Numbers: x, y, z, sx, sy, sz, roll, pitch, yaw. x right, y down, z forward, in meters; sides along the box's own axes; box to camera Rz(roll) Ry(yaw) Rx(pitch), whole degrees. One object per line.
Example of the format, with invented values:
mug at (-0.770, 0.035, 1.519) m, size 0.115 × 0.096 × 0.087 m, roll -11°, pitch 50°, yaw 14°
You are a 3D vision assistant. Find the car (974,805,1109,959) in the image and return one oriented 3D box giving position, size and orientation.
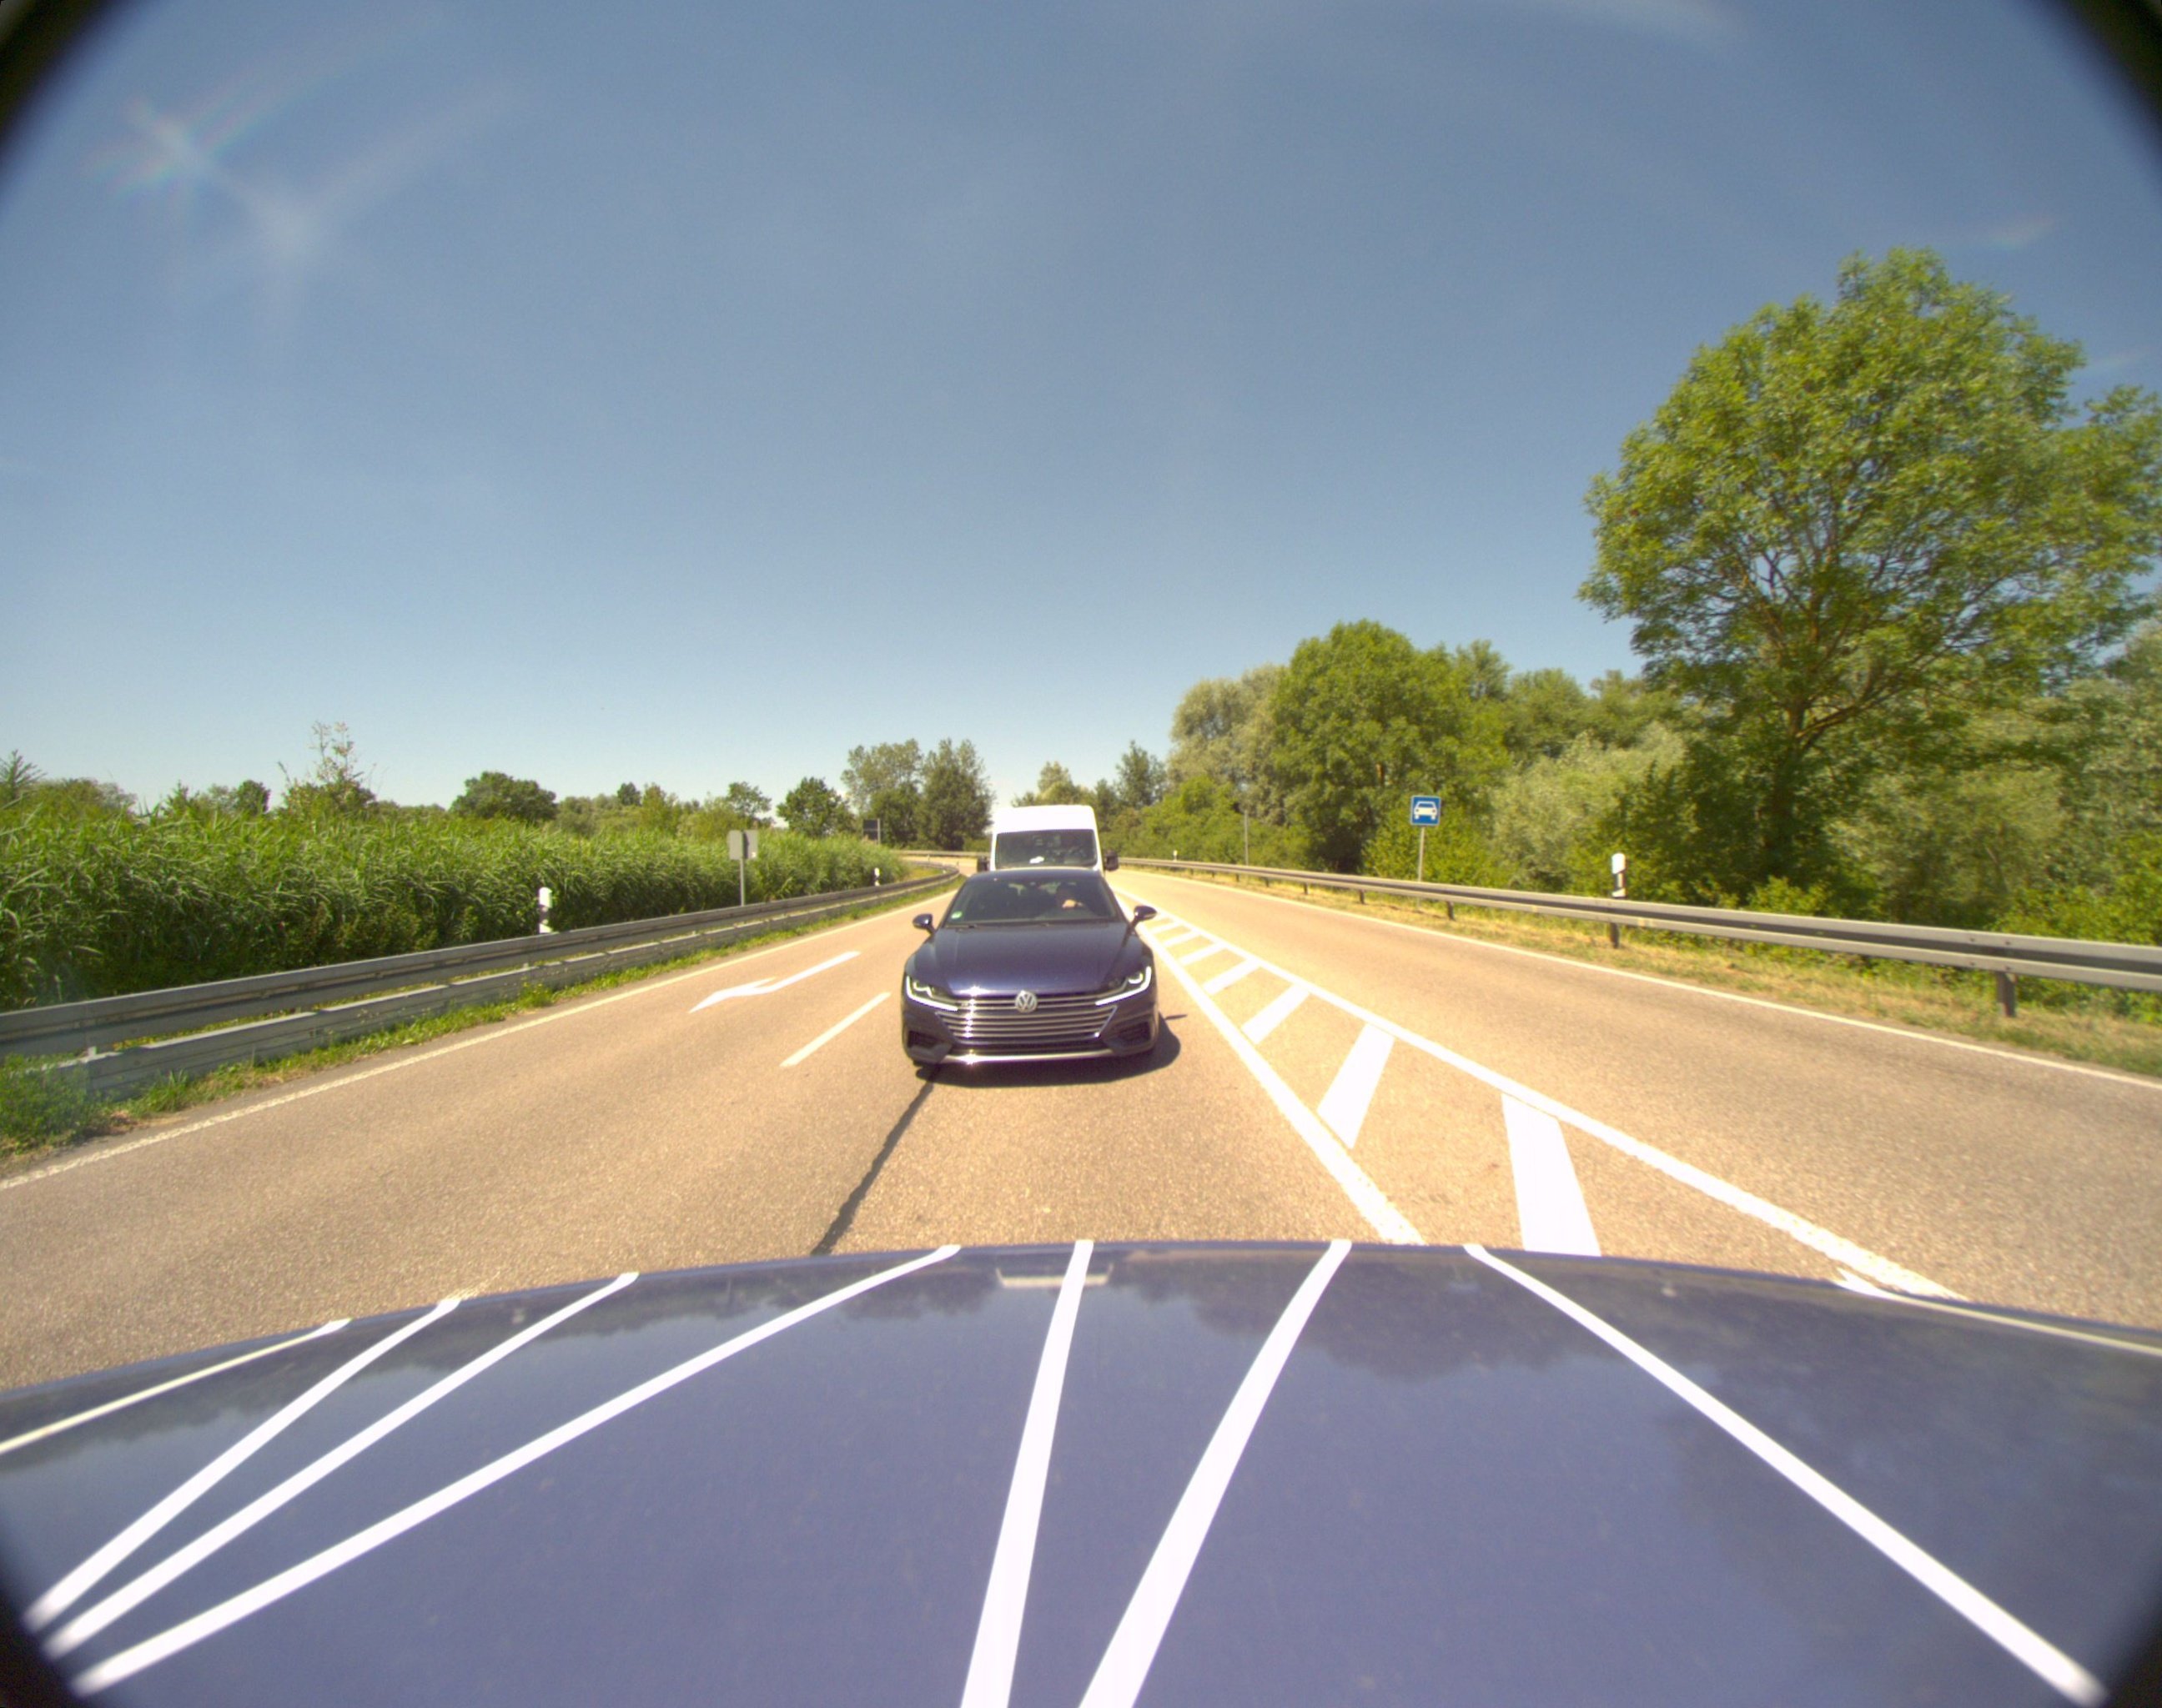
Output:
car at (-0.611, 0.414, 14.973) m, size 2.059 × 2.376 × 5.826 m, roll -2°, pitch 1°, yaw 0°

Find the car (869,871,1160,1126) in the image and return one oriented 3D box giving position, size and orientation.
car at (-0.403, 0.948, 6.734) m, size 1.761 × 1.401 × 3.999 m, roll -2°, pitch 1°, yaw 0°
